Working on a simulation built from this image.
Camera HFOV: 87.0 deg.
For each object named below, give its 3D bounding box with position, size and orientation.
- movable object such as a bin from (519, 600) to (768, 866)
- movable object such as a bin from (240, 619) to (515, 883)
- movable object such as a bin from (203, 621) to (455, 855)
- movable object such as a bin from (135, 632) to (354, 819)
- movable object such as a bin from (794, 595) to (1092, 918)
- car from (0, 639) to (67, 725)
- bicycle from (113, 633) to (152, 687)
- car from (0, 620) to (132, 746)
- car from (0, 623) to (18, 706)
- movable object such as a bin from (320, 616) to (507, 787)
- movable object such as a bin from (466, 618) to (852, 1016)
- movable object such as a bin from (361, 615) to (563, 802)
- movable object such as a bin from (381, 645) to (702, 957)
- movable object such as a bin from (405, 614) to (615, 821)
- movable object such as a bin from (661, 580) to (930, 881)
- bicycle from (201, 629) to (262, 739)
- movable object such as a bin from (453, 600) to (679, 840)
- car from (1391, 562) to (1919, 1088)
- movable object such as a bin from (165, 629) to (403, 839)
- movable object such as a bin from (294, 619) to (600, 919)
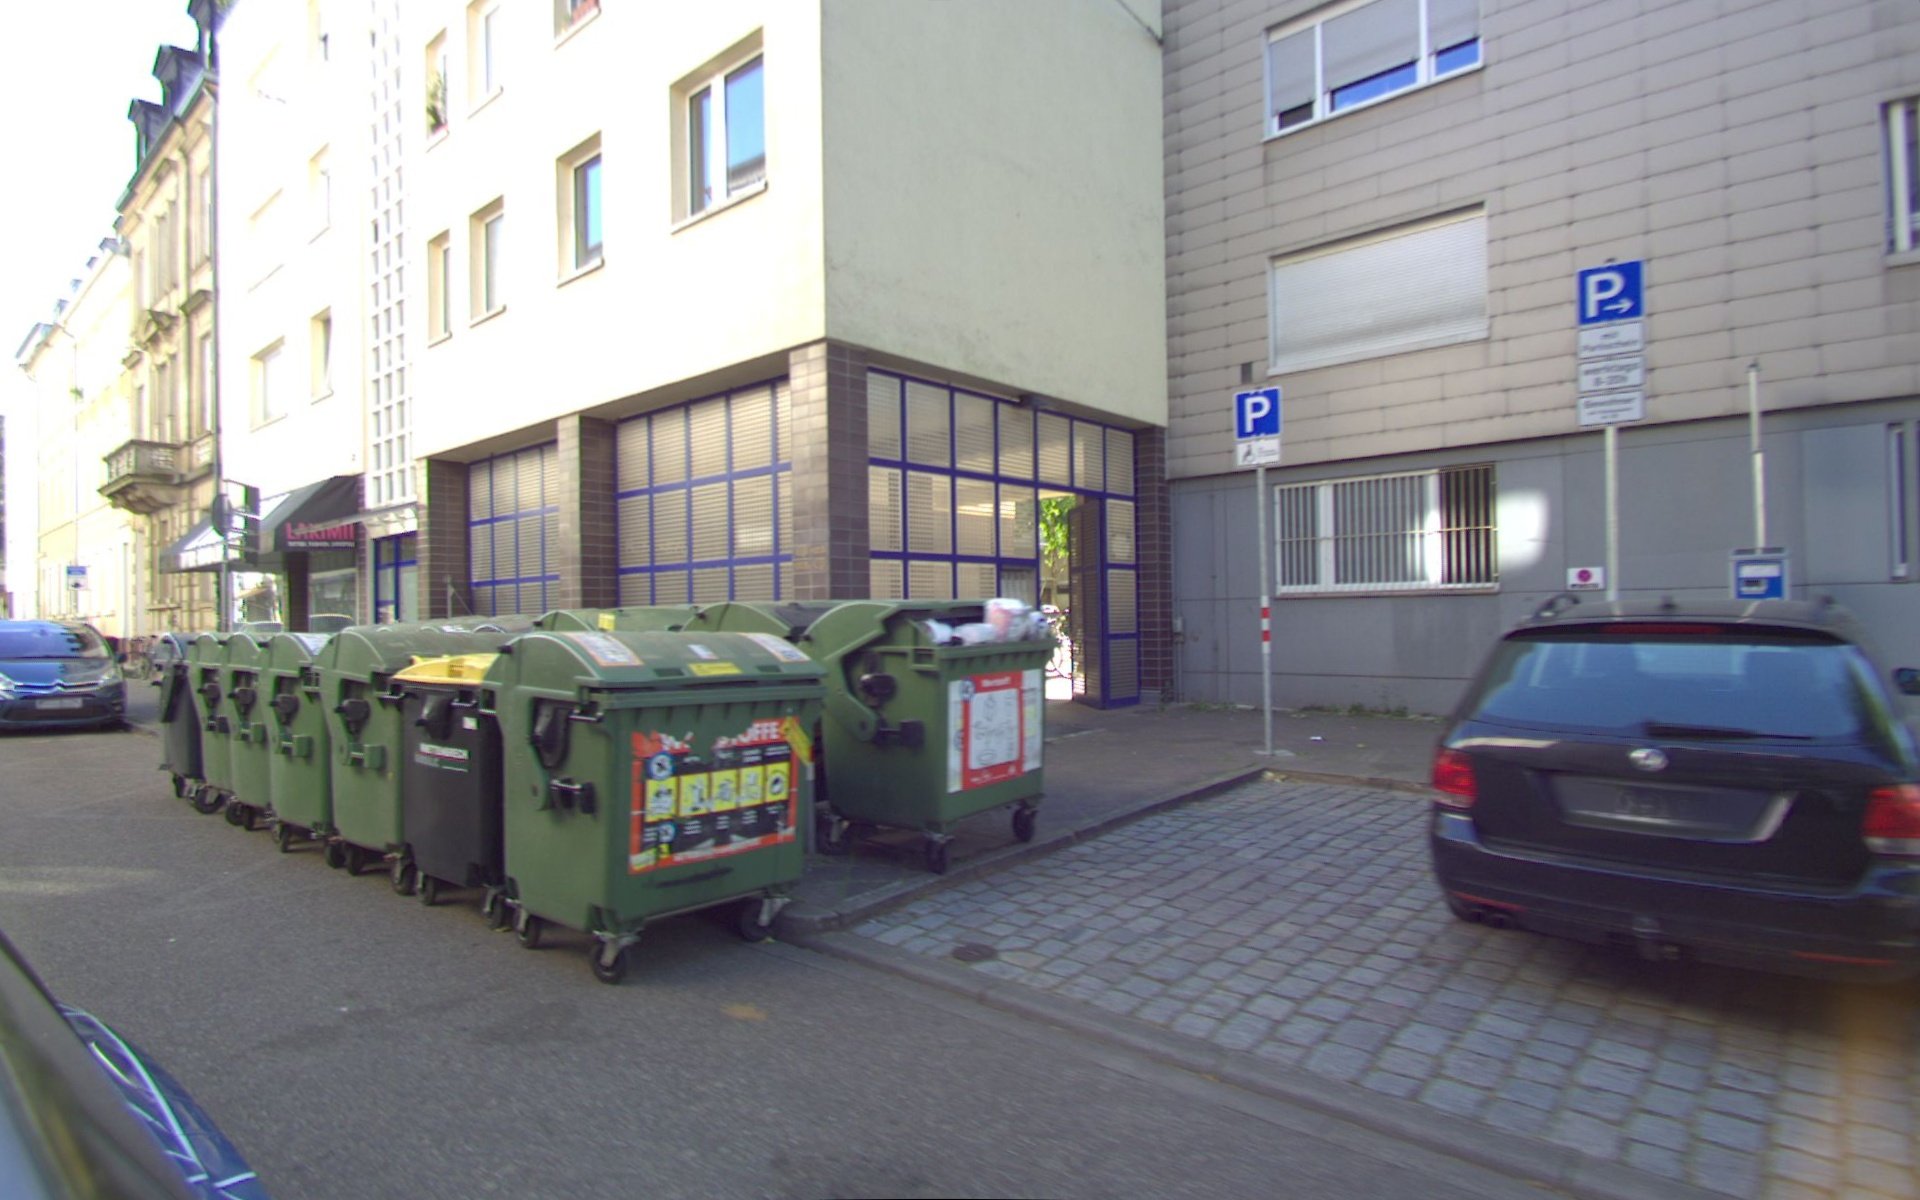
[{"bbox_3d":[-2.184,0.819,7.031,1.081,1.616,1.275,-1,-1,41],"label":"movable object such as a bin"},{"bbox_3d":[-3.846,0.892,6.721,1.017,1.510,1.329,-1,-1,41],"label":"movable object such as a bin"},{"bbox_3d":[-4.609,0.914,7.422,1.002,1.498,1.334,-1,-1,41],"label":"movable object such as a bin"},{"bbox_3d":[-6.269,1.024,8.888,1.186,1.461,1.305,-1,-3,41],"label":"movable object such as a bin"},{"bbox_3d":[-0.067,0.761,5.770,1.118,1.561,1.341,-1,-1,35],"label":"movable object such as a bin"},{"bbox_3d":[-18.272,1.458,18.869,4.816,1.428,1.826,-1,-3,42],"label":"car"},{"bbox_3d":[-20.522,1.465,25.089,1.867,1.286,0.505,-1,-1,43],"label":"bicycle"},{"bbox_3d":[-14.196,1.177,15.367,4.668,1.679,1.763,-2,-3,42],"label":"car"},{"bbox_3d":[-22.704,1.416,22.609,5.140,1.749,1.916,-2,-2,41],"label":"car"},{"bbox_3d":[-5.357,0.925,9.934,1.178,1.509,1.283,-1,-1,41],"label":"movable object such as a bin"},{"bbox_3d":[-1.348,0.824,4.632,1.116,1.462,1.288,-1,-1,38],"label":"movable object such as a bin"},{"bbox_3d":[-4.496,0.907,9.160,1.156,1.510,1.292,-1,-1,41],"label":"movable object such as a bin"},{"bbox_3d":[-2.188,0.932,5.337,1.045,1.332,1.228,-1,-1,41],"label":"movable object such as a bin"},{"bbox_3d":[-3.723,0.893,8.408,1.017,1.534,1.288,-1,-1,41],"label":"movable object such as a bin"},{"bbox_3d":[-1.025,0.726,6.435,1.171,1.665,1.216,-1,-1,35],"label":"movable object such as a bin"},{"bbox_3d":[-10.136,1.122,14.054,0.460,1.341,1.857,-5,4,-40],"label":"bicycle"},{"bbox_3d":[-2.991,0.827,7.724,1.017,1.633,1.281,-1,-1,41],"label":"movable object such as a bin"},{"bbox_3d":[3.578,0.642,4.739,1.825,1.516,3.836,-1,0,40],"label":"car"},{"bbox_3d":[-5.394,0.988,8.107,1.093,1.495,1.320,-1,-3,41],"label":"movable object such as a bin"},{"bbox_3d":[-3.036,0.878,6.026,1.081,1.502,1.320,-1,-1,41],"label":"movable object such as a bin"}]
